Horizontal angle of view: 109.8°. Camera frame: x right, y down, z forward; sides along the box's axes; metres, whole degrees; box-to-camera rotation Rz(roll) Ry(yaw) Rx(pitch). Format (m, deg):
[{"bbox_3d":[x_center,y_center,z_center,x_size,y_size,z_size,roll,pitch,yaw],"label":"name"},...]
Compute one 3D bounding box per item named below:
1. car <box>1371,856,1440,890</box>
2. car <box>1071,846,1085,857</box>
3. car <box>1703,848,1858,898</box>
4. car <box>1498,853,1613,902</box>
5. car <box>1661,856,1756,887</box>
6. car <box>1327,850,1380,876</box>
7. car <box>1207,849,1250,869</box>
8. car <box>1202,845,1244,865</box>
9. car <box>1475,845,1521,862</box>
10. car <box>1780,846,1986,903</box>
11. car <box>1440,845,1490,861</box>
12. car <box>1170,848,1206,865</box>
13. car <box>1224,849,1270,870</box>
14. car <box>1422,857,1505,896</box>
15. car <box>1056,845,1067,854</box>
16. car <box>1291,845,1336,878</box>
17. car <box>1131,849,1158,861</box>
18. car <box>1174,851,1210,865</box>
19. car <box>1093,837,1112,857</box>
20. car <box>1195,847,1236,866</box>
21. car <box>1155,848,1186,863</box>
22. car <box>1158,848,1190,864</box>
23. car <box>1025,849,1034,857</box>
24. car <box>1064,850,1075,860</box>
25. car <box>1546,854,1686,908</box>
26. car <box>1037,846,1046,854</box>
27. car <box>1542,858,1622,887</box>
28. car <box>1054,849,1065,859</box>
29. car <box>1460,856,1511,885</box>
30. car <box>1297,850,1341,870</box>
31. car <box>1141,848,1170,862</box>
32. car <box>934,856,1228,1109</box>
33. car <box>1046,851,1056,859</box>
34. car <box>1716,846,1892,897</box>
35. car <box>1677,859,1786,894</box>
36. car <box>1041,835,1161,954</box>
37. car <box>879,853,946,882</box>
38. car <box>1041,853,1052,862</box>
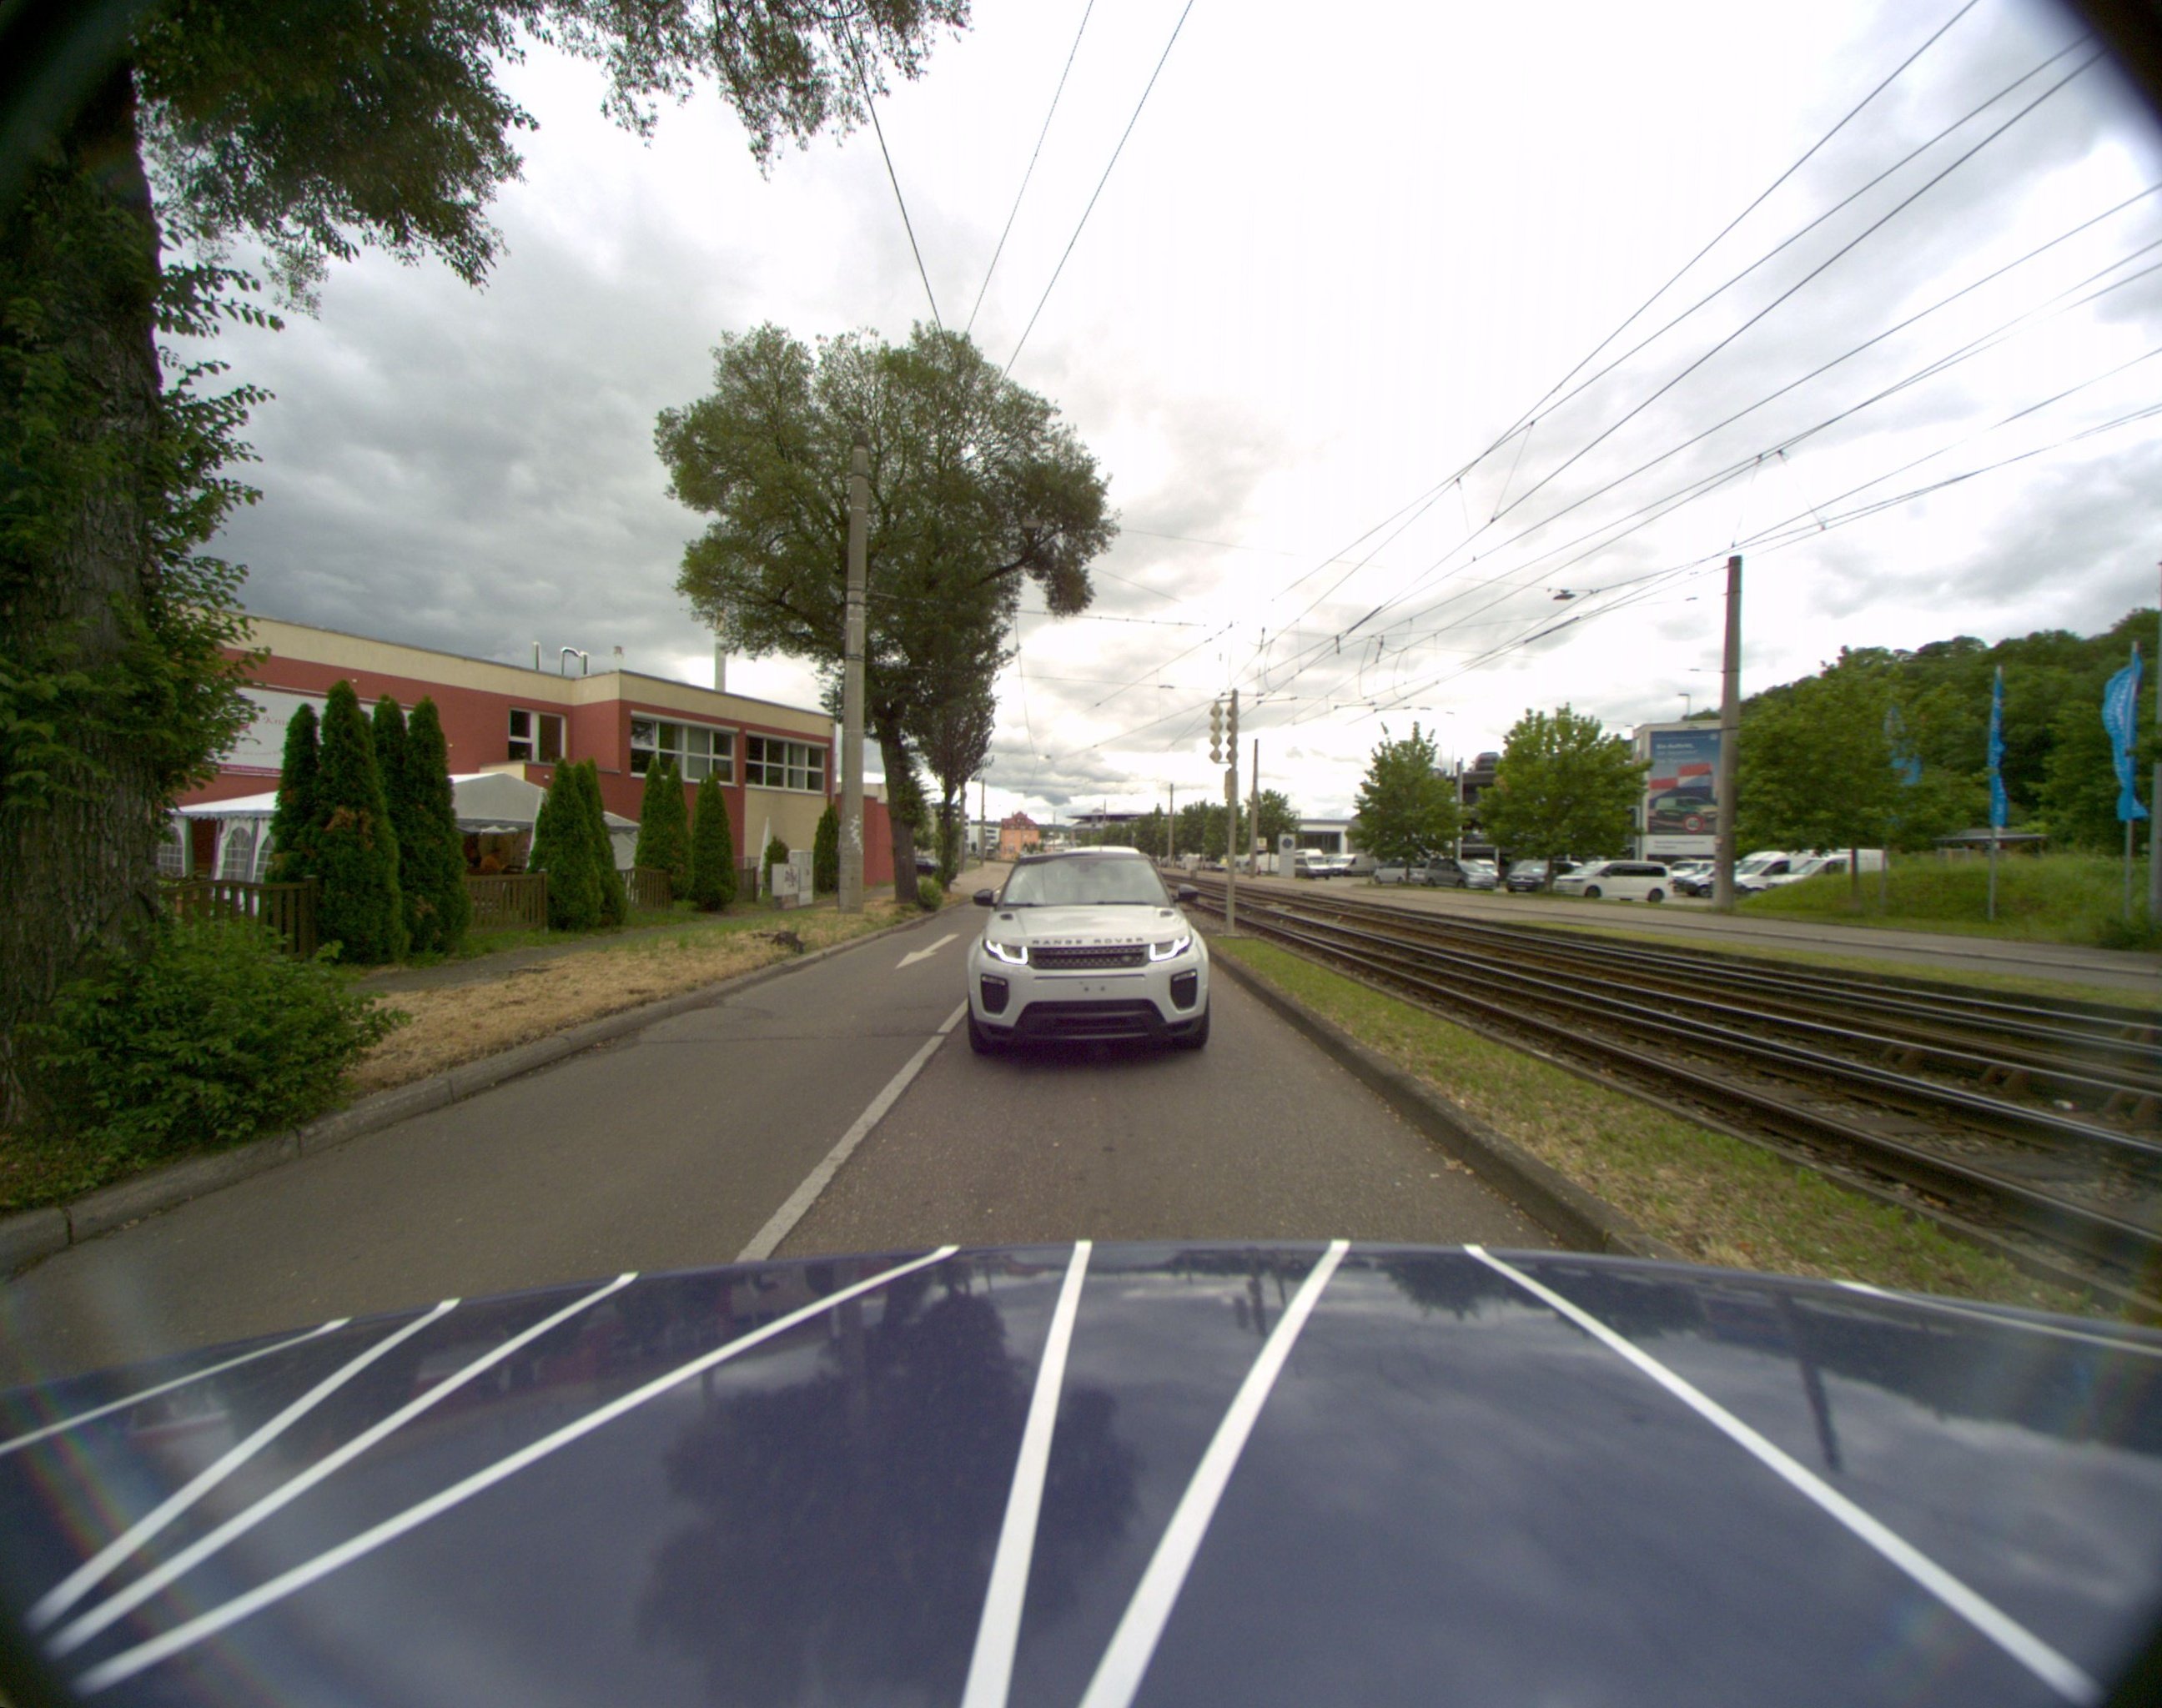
[{"bbox_3d":[22.134,1.241,52.101,2.142,2.104,4.772,-2,1,-8],"label":"car"},{"bbox_3d":[-0.486,-0.463,137.769,2.000,2.002,3.997,-2,1,-7],"label":"car"},{"bbox_3d":[36.626,1.000,39.972,5.652,2.446,1.983,-2,1,19],"label":"car"},{"bbox_3d":[24.687,1.193,39.662,4.774,2.254,1.979,-2,1,-3],"label":"car"},{"bbox_3d":[39.883,1.103,48.394,4.228,1.826,1.983,-2,1,19],"label":"car"},{"bbox_3d":[30.330,0.960,84.561,6.057,2.608,2.316,-3,1,-34],"label":"car"},{"bbox_3d":[17.703,0.592,91.173,4.639,2.196,2.107,-2,1,-8],"label":"car"},{"bbox_3d":[17.495,0.127,93.608,4.639,2.196,2.107,-2,1,-8],"label":"car"},{"bbox_3d":[47.188,-0.046,86.057,4.227,1.826,1.983,-2,1,21],"label":"car"},{"bbox_3d":[34.680,0.902,33.124,5.850,2.254,2.056,-2,1,22],"label":"car"},{"bbox_3d":[46.343,-0.127,91.796,5.216,1.826,1.983,-2,1,21],"label":"car"},{"bbox_3d":[15.542,0.378,110.554,4.639,2.196,2.107,-2,1,-8],"label":"car"},{"bbox_3d":[18.802,0.642,86.088,4.639,2.196,2.107,-2,1,-8],"label":"car"},{"bbox_3d":[22.997,1.276,45.872,2.142,2.104,4.773,-2,1,-7],"label":"car"},{"bbox_3d":[-4.632,-1.069,178.510,2.000,2.002,3.997,-2,1,-7],"label":"car"},{"bbox_3d":[22.408,0.664,73.591,2.320,2.994,6.157,-2,1,0],"label":"car"},{"bbox_3d":[11.851,0.172,141.317,4.639,2.196,2.107,-2,1,-8],"label":"car"},{"bbox_3d":[15.776,0.579,108.148,4.639,1.829,2.107,-2,1,-8],"label":"car"},{"bbox_3d":[3.336,-1.102,118.268,2.410,2.931,4.747,-2,1,-2],"label":"car"},{"bbox_3d":[17.075,0.307,96.393,4.639,2.196,2.107,-2,1,-8],"label":"car"},{"bbox_3d":[14.486,0.279,122.917,4.639,2.196,2.107,-2,1,-8],"label":"car"},{"bbox_3d":[14.763,0.295,120.482,4.639,2.196,2.107,-2,1,-8],"label":"car"},{"bbox_3d":[-13.579,-0.302,201.168,2.000,2.002,3.997,-2,1,-7],"label":"car"},{"bbox_3d":[-2.483,0.137,165.045,2.000,2.002,3.997,-2,1,-7],"label":"car"},{"bbox_3d":[25.266,1.232,35.996,5.269,2.254,1.999,-2,1,-3],"label":"car"},{"bbox_3d":[-10.631,-0.985,205.068,2.000,2.002,3.997,-2,1,-7],"label":"car"},{"bbox_3d":[34.406,1.291,52.313,4.228,1.826,1.983,-2,1,19],"label":"car"},{"bbox_3d":[-4.601,0.043,161.240,2.000,2.002,3.997,-2,1,-7],"label":"car"},{"bbox_3d":[28.887,1.138,54.406,1.900,1.882,4.600,-2,1,12],"label":"car"},{"bbox_3d":[29.123,0.705,93.024,4.636,2.196,2.108,-2,1,-1],"label":"car"},{"bbox_3d":[13.016,0.223,132.834,4.639,2.196,2.107,-2,1,-8],"label":"car"},{"bbox_3d":[0.003,0.888,7.313,1.998,1.680,4.268,0,1,0],"label":"car"},{"bbox_3d":[-7.623,0.290,192.318,2.000,2.002,3.997,-2,1,-7],"label":"car"},{"bbox_3d":[34.916,0.850,36.929,5.839,2.254,2.056,-2,1,22],"label":"car"},{"bbox_3d":[36.662,1.275,42.982,4.228,1.826,1.983,-2,1,19],"label":"car"},{"bbox_3d":[0.320,0.651,15.199,1.999,1.990,5.033,0,1,0],"label":"car"},{"bbox_3d":[-10.953,0.858,49.564,3.999,1.636,1.895,-2,1,-6],"label":"car"},{"bbox_3d":[-7.990,0.716,175.251,2.000,2.002,3.997,-2,1,-7],"label":"car"}]
